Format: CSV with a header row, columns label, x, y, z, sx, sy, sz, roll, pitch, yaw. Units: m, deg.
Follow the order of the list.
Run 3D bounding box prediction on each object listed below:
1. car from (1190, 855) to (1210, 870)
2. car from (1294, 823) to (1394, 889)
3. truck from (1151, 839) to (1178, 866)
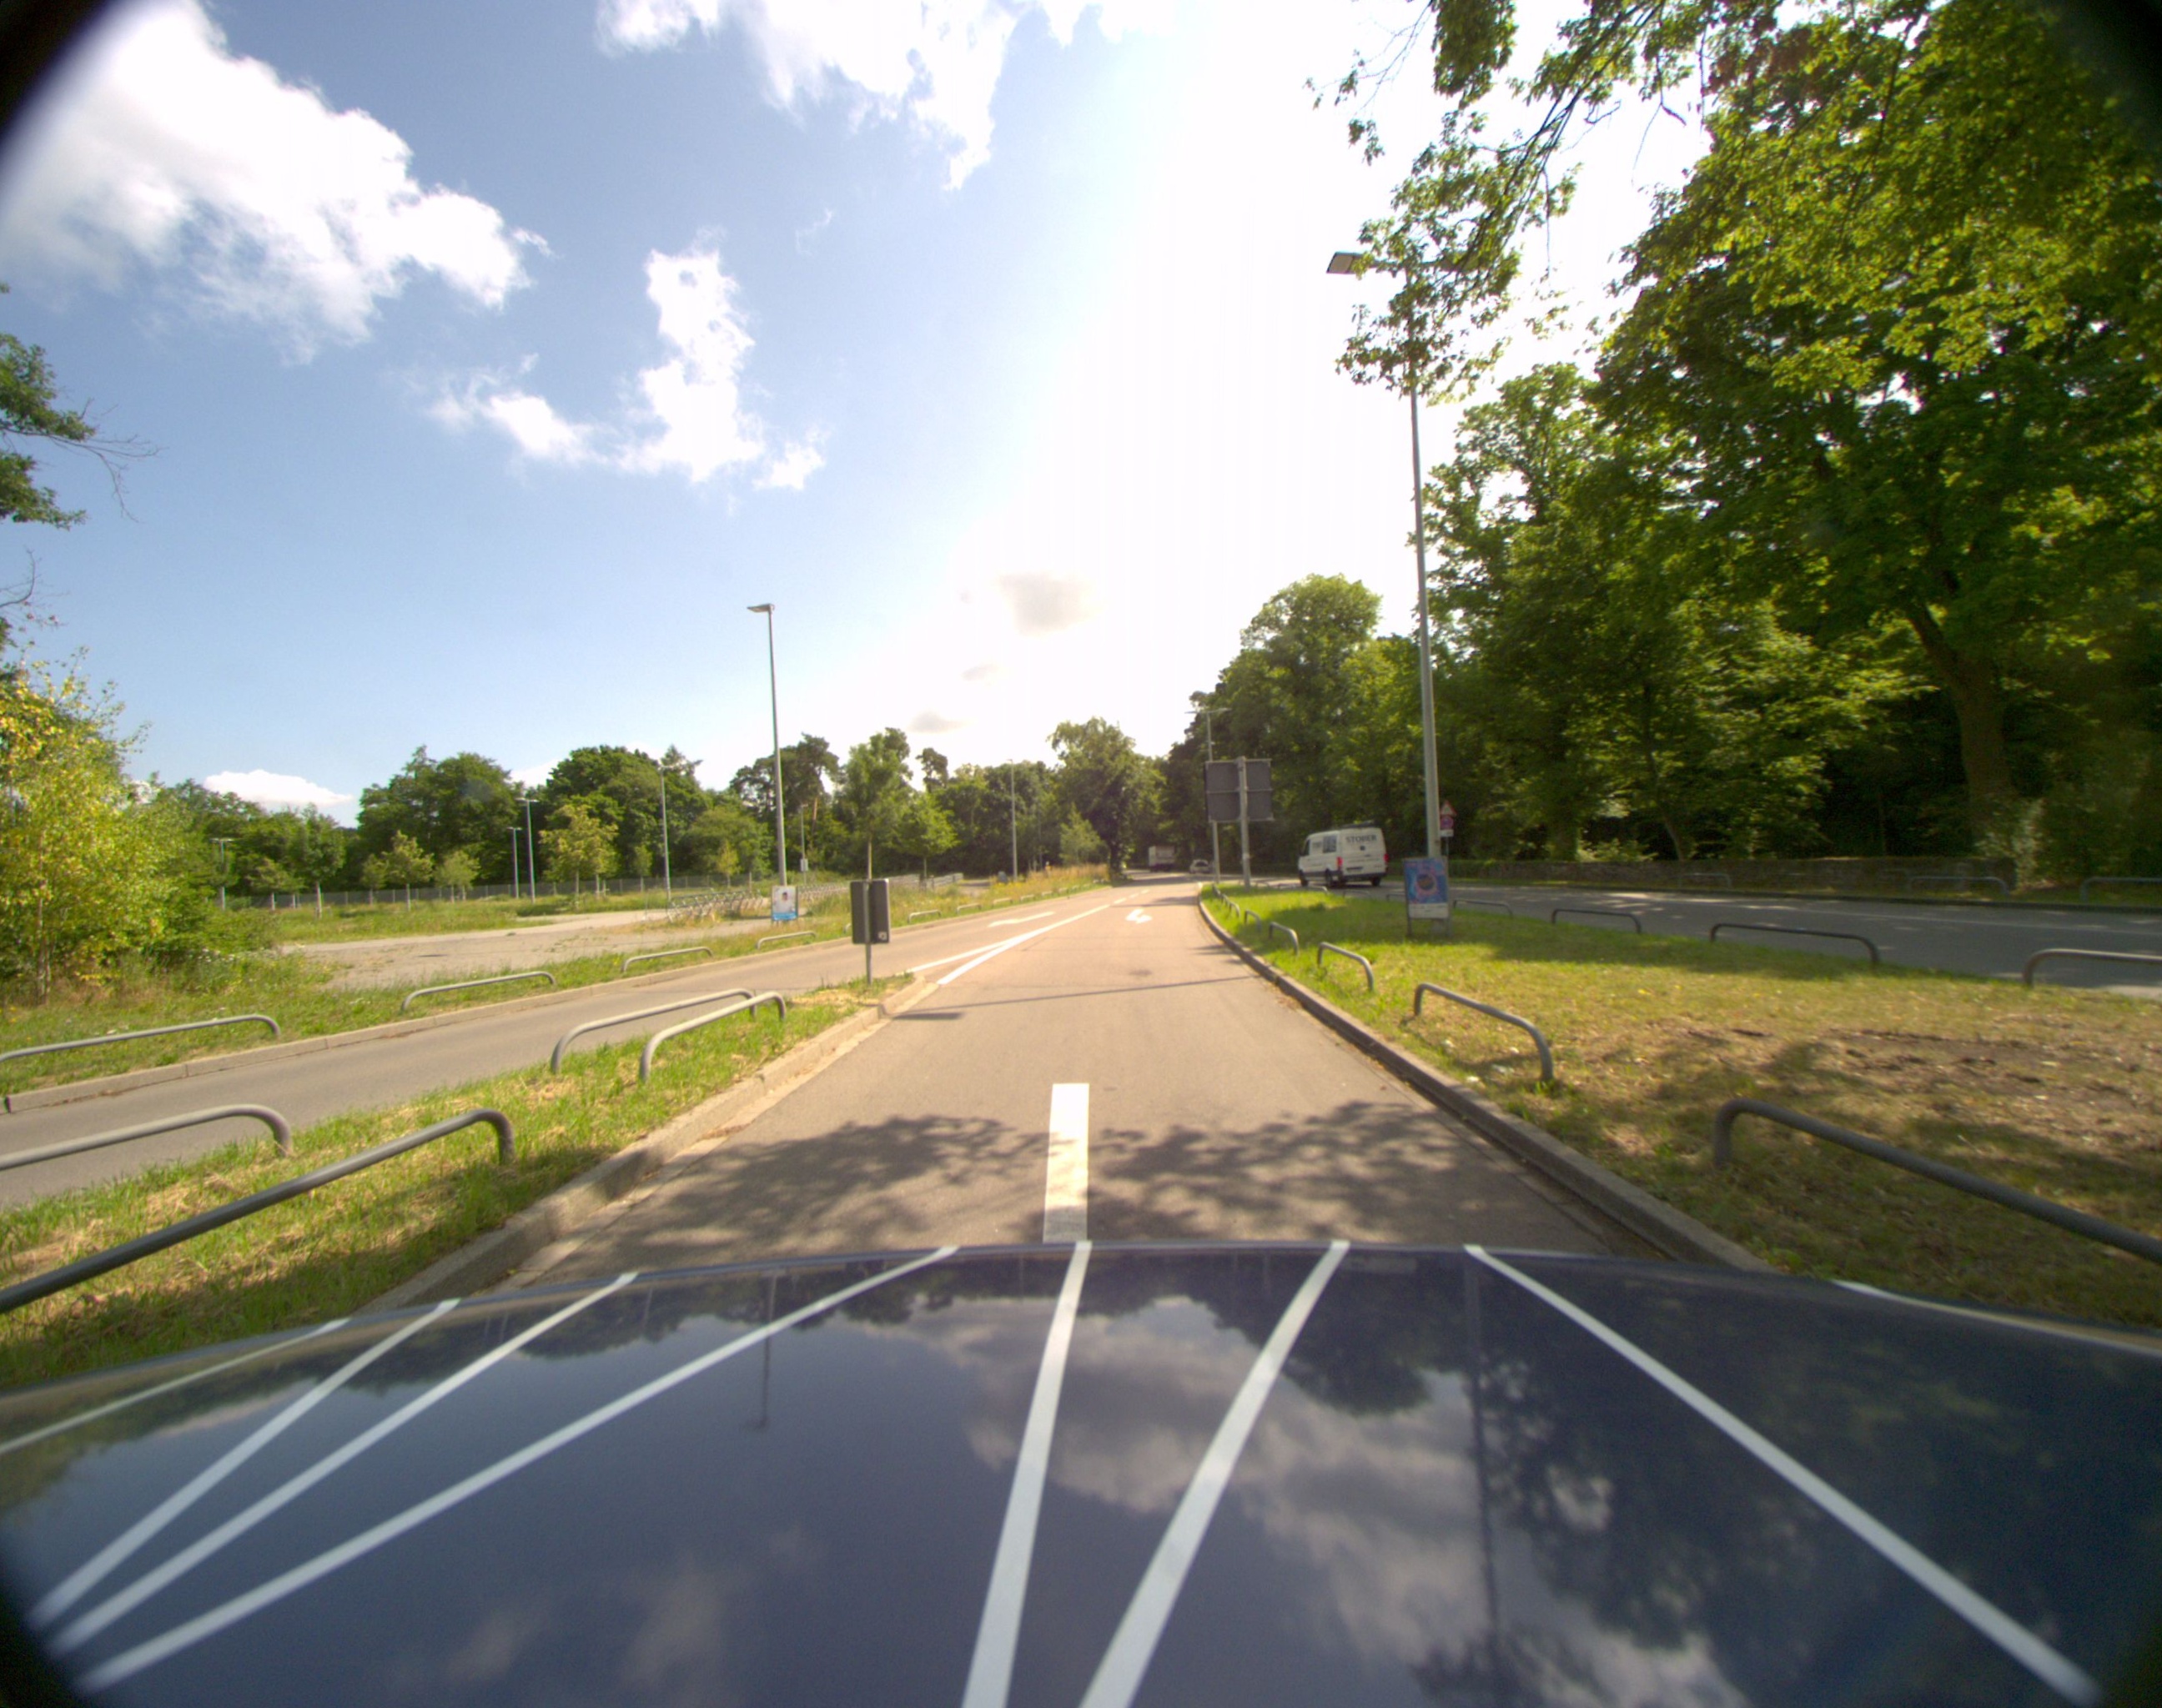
label,x,y,z,sx,sy,sz,roll,pitch,yaw
car,12.428,0.897,79.473,1.655,1.461,3.871,-2,1,3
car,10.804,0.051,31.698,1.980,2.417,5.361,-4,1,-2
truck,11.490,-0.232,105.018,2.914,3.609,7.004,-2,1,1
